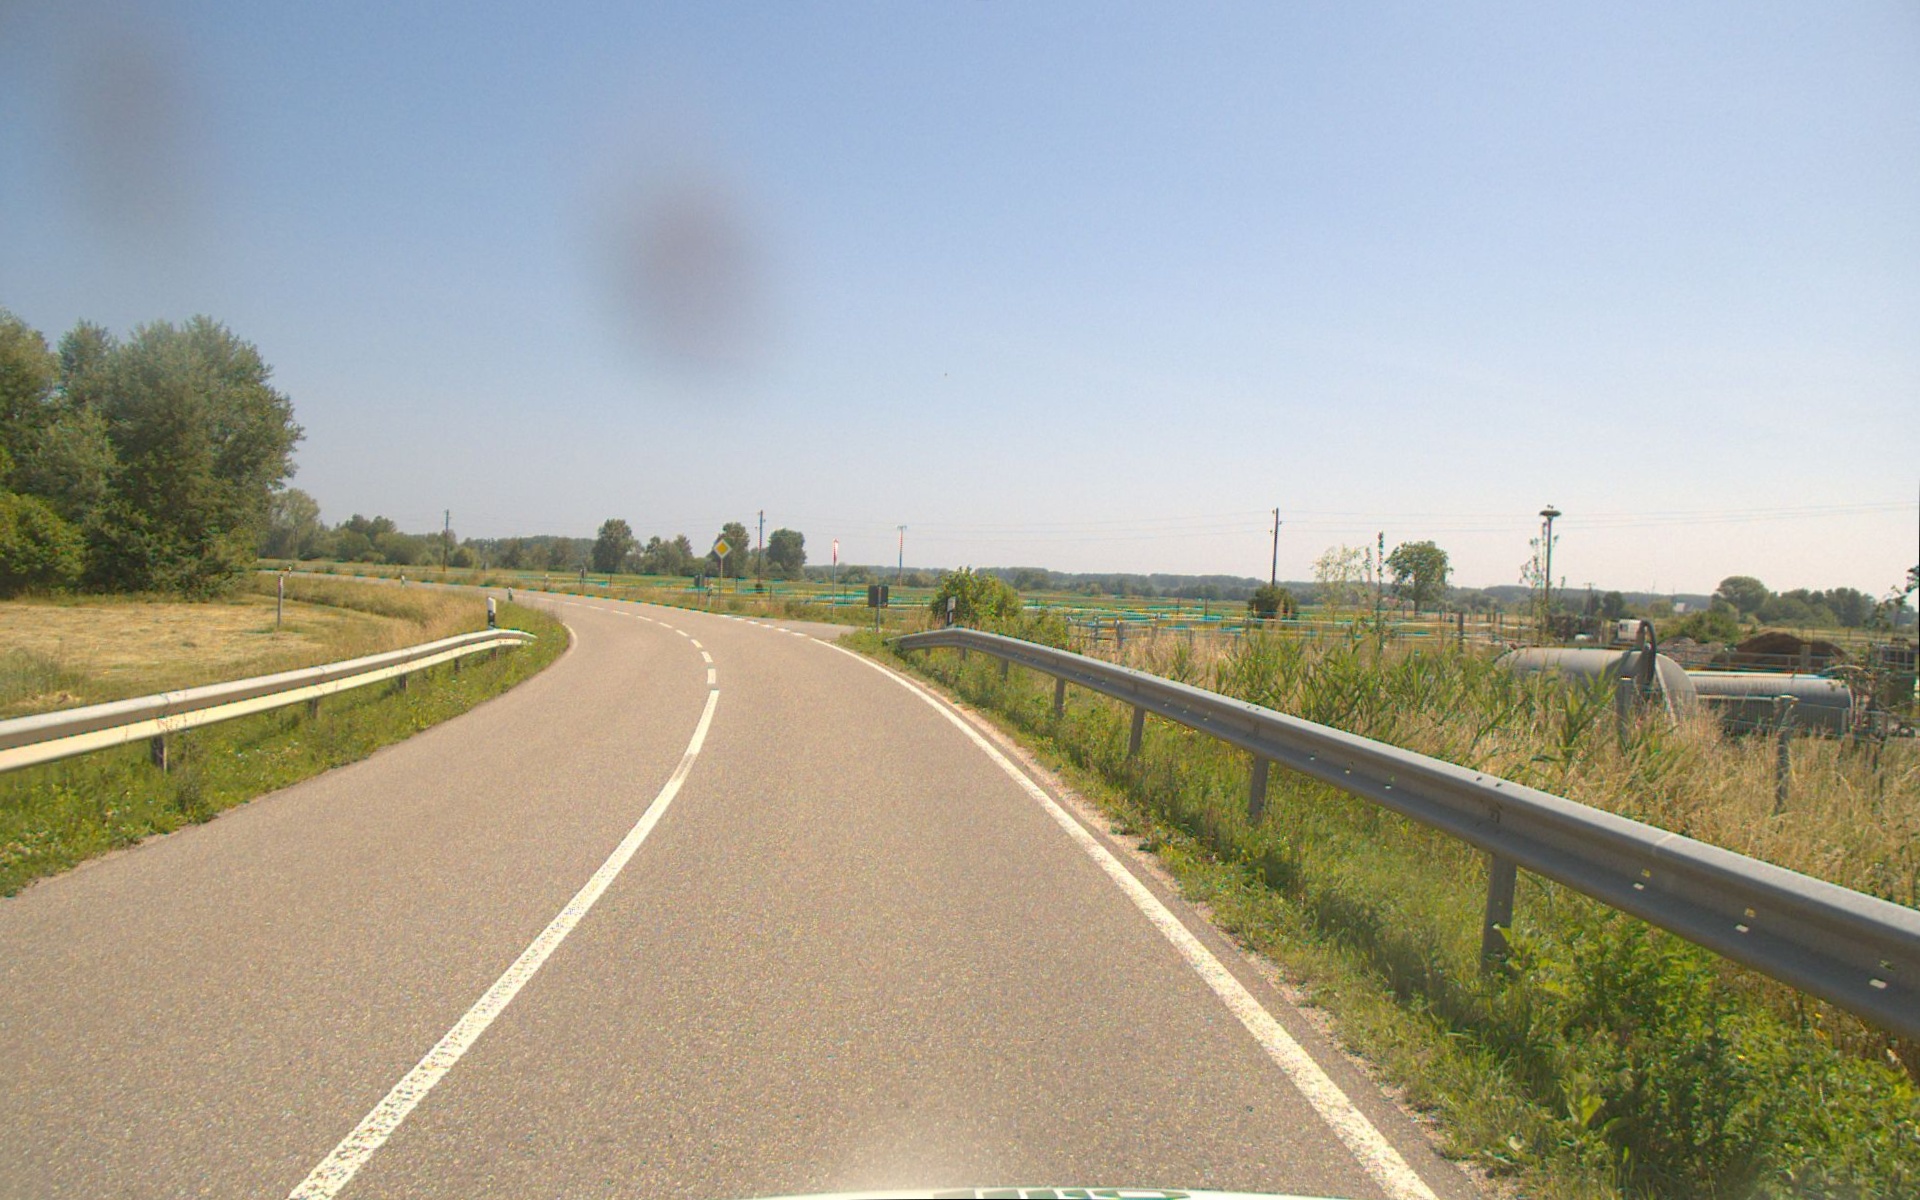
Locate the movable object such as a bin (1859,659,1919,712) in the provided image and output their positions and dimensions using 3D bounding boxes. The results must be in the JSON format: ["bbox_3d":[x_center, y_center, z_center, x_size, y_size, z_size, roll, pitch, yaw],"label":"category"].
[{"bbox_3d":[26.035,2.376,46.243,1.341,1.373,1.516,3,0,22],"label":"movable object such as a bin"}]
